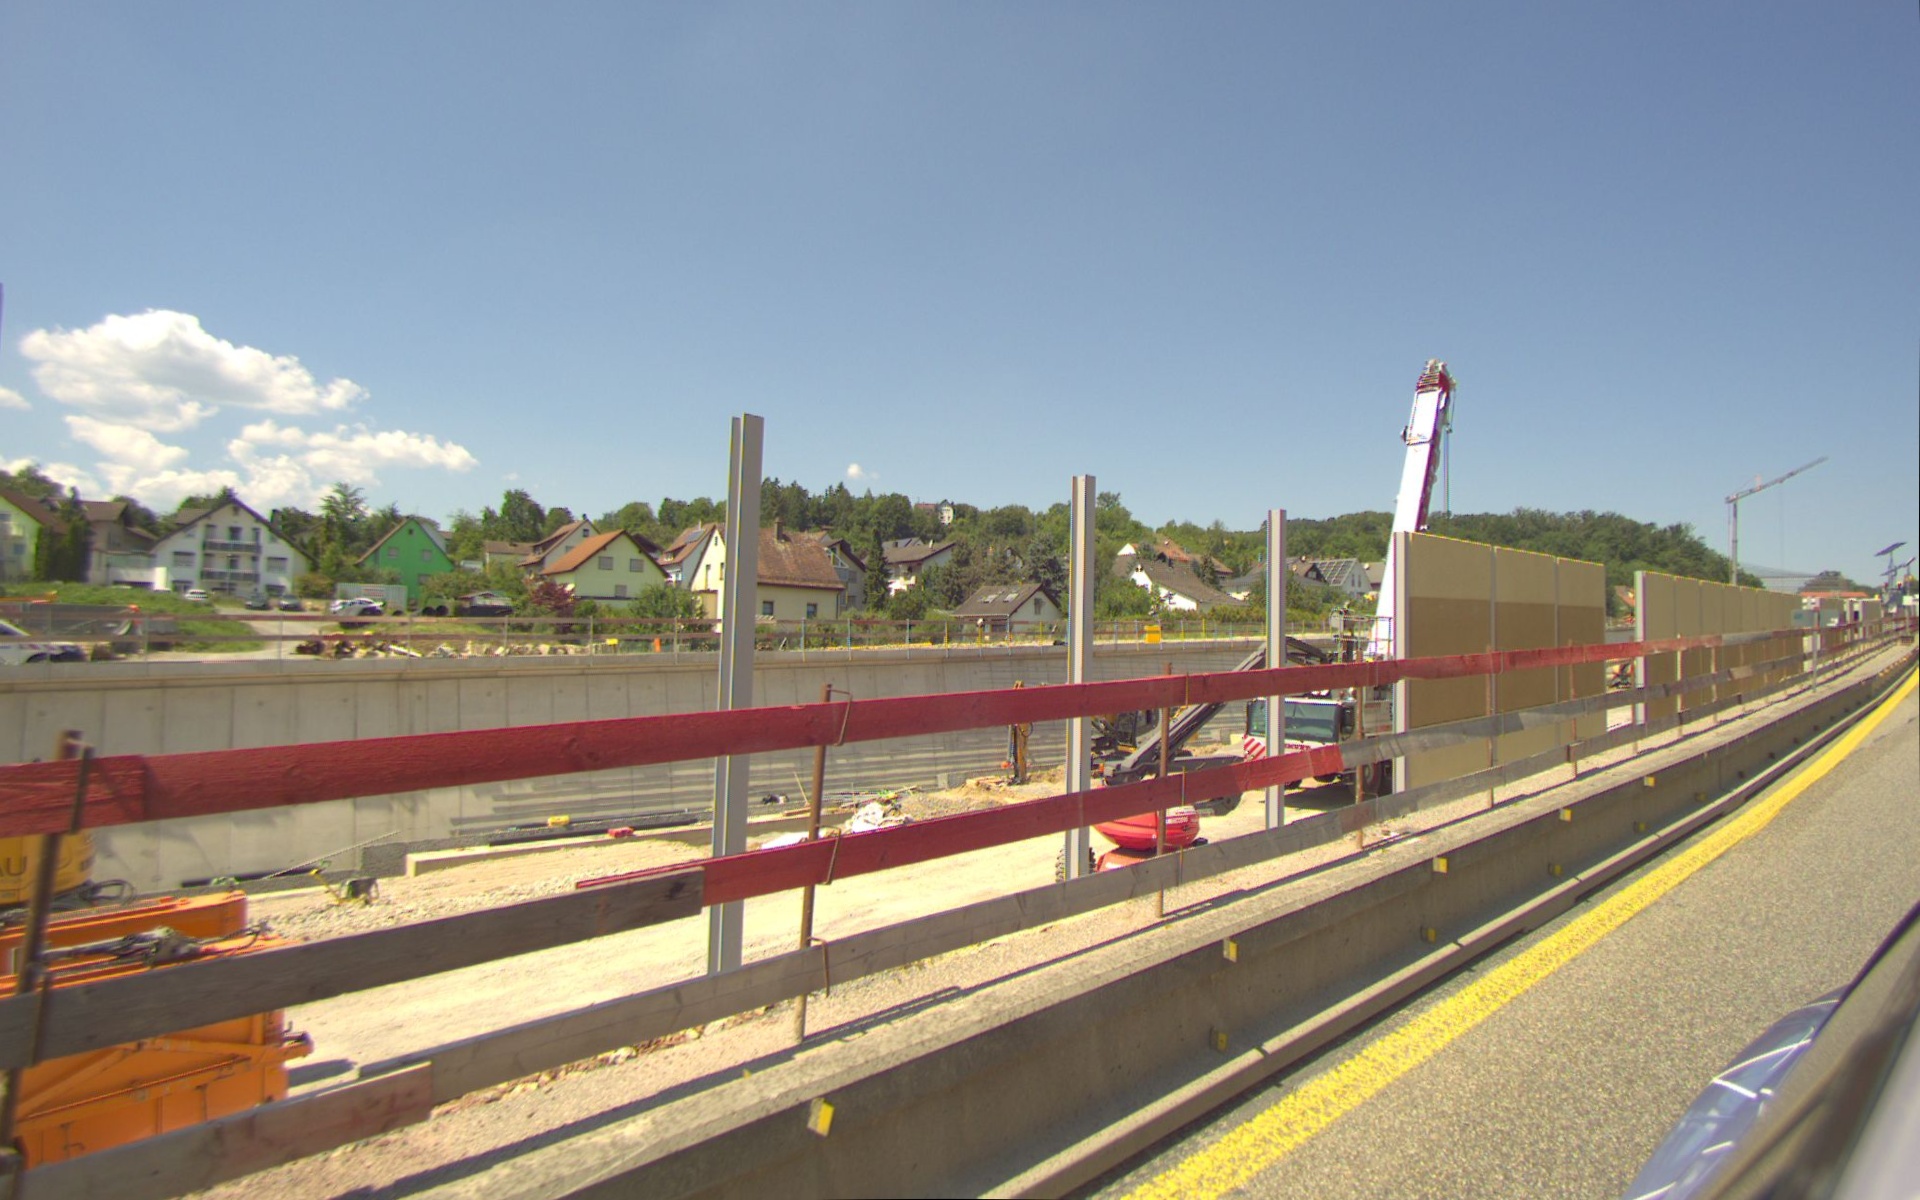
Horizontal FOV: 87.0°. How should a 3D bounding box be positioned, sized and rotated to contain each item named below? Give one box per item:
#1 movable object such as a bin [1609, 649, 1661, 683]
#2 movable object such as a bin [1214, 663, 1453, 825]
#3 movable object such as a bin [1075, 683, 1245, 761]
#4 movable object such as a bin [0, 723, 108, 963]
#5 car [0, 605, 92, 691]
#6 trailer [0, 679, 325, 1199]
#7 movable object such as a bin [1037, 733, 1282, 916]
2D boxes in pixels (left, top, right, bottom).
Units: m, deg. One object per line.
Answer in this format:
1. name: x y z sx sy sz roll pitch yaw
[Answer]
1. movable object such as a bin: 54.200 5.255 81.278 4.381 2.522 2.609 1 -2 -45
2. movable object such as a bin: 10.968 3.781 29.051 2.965 3.533 9.006 -3 -2 44
3. movable object such as a bin: 8.595 5.018 42.830 7.764 2.477 3.164 0 -2 -44
4. movable object such as a bin: -14.923 3.502 13.989 4.739 3.063 2.282 0 -2 -43
5. car: -24.057 1.146 24.292 1.806 2.039 4.747 -1 -1 45
6. trailer: -11.313 2.791 5.695 12.828 3.936 2.761 1 -1 -43
7. movable object such as a bin: 3.881 4.042 19.222 4.739 2.463 2.170 0 -2 -43
